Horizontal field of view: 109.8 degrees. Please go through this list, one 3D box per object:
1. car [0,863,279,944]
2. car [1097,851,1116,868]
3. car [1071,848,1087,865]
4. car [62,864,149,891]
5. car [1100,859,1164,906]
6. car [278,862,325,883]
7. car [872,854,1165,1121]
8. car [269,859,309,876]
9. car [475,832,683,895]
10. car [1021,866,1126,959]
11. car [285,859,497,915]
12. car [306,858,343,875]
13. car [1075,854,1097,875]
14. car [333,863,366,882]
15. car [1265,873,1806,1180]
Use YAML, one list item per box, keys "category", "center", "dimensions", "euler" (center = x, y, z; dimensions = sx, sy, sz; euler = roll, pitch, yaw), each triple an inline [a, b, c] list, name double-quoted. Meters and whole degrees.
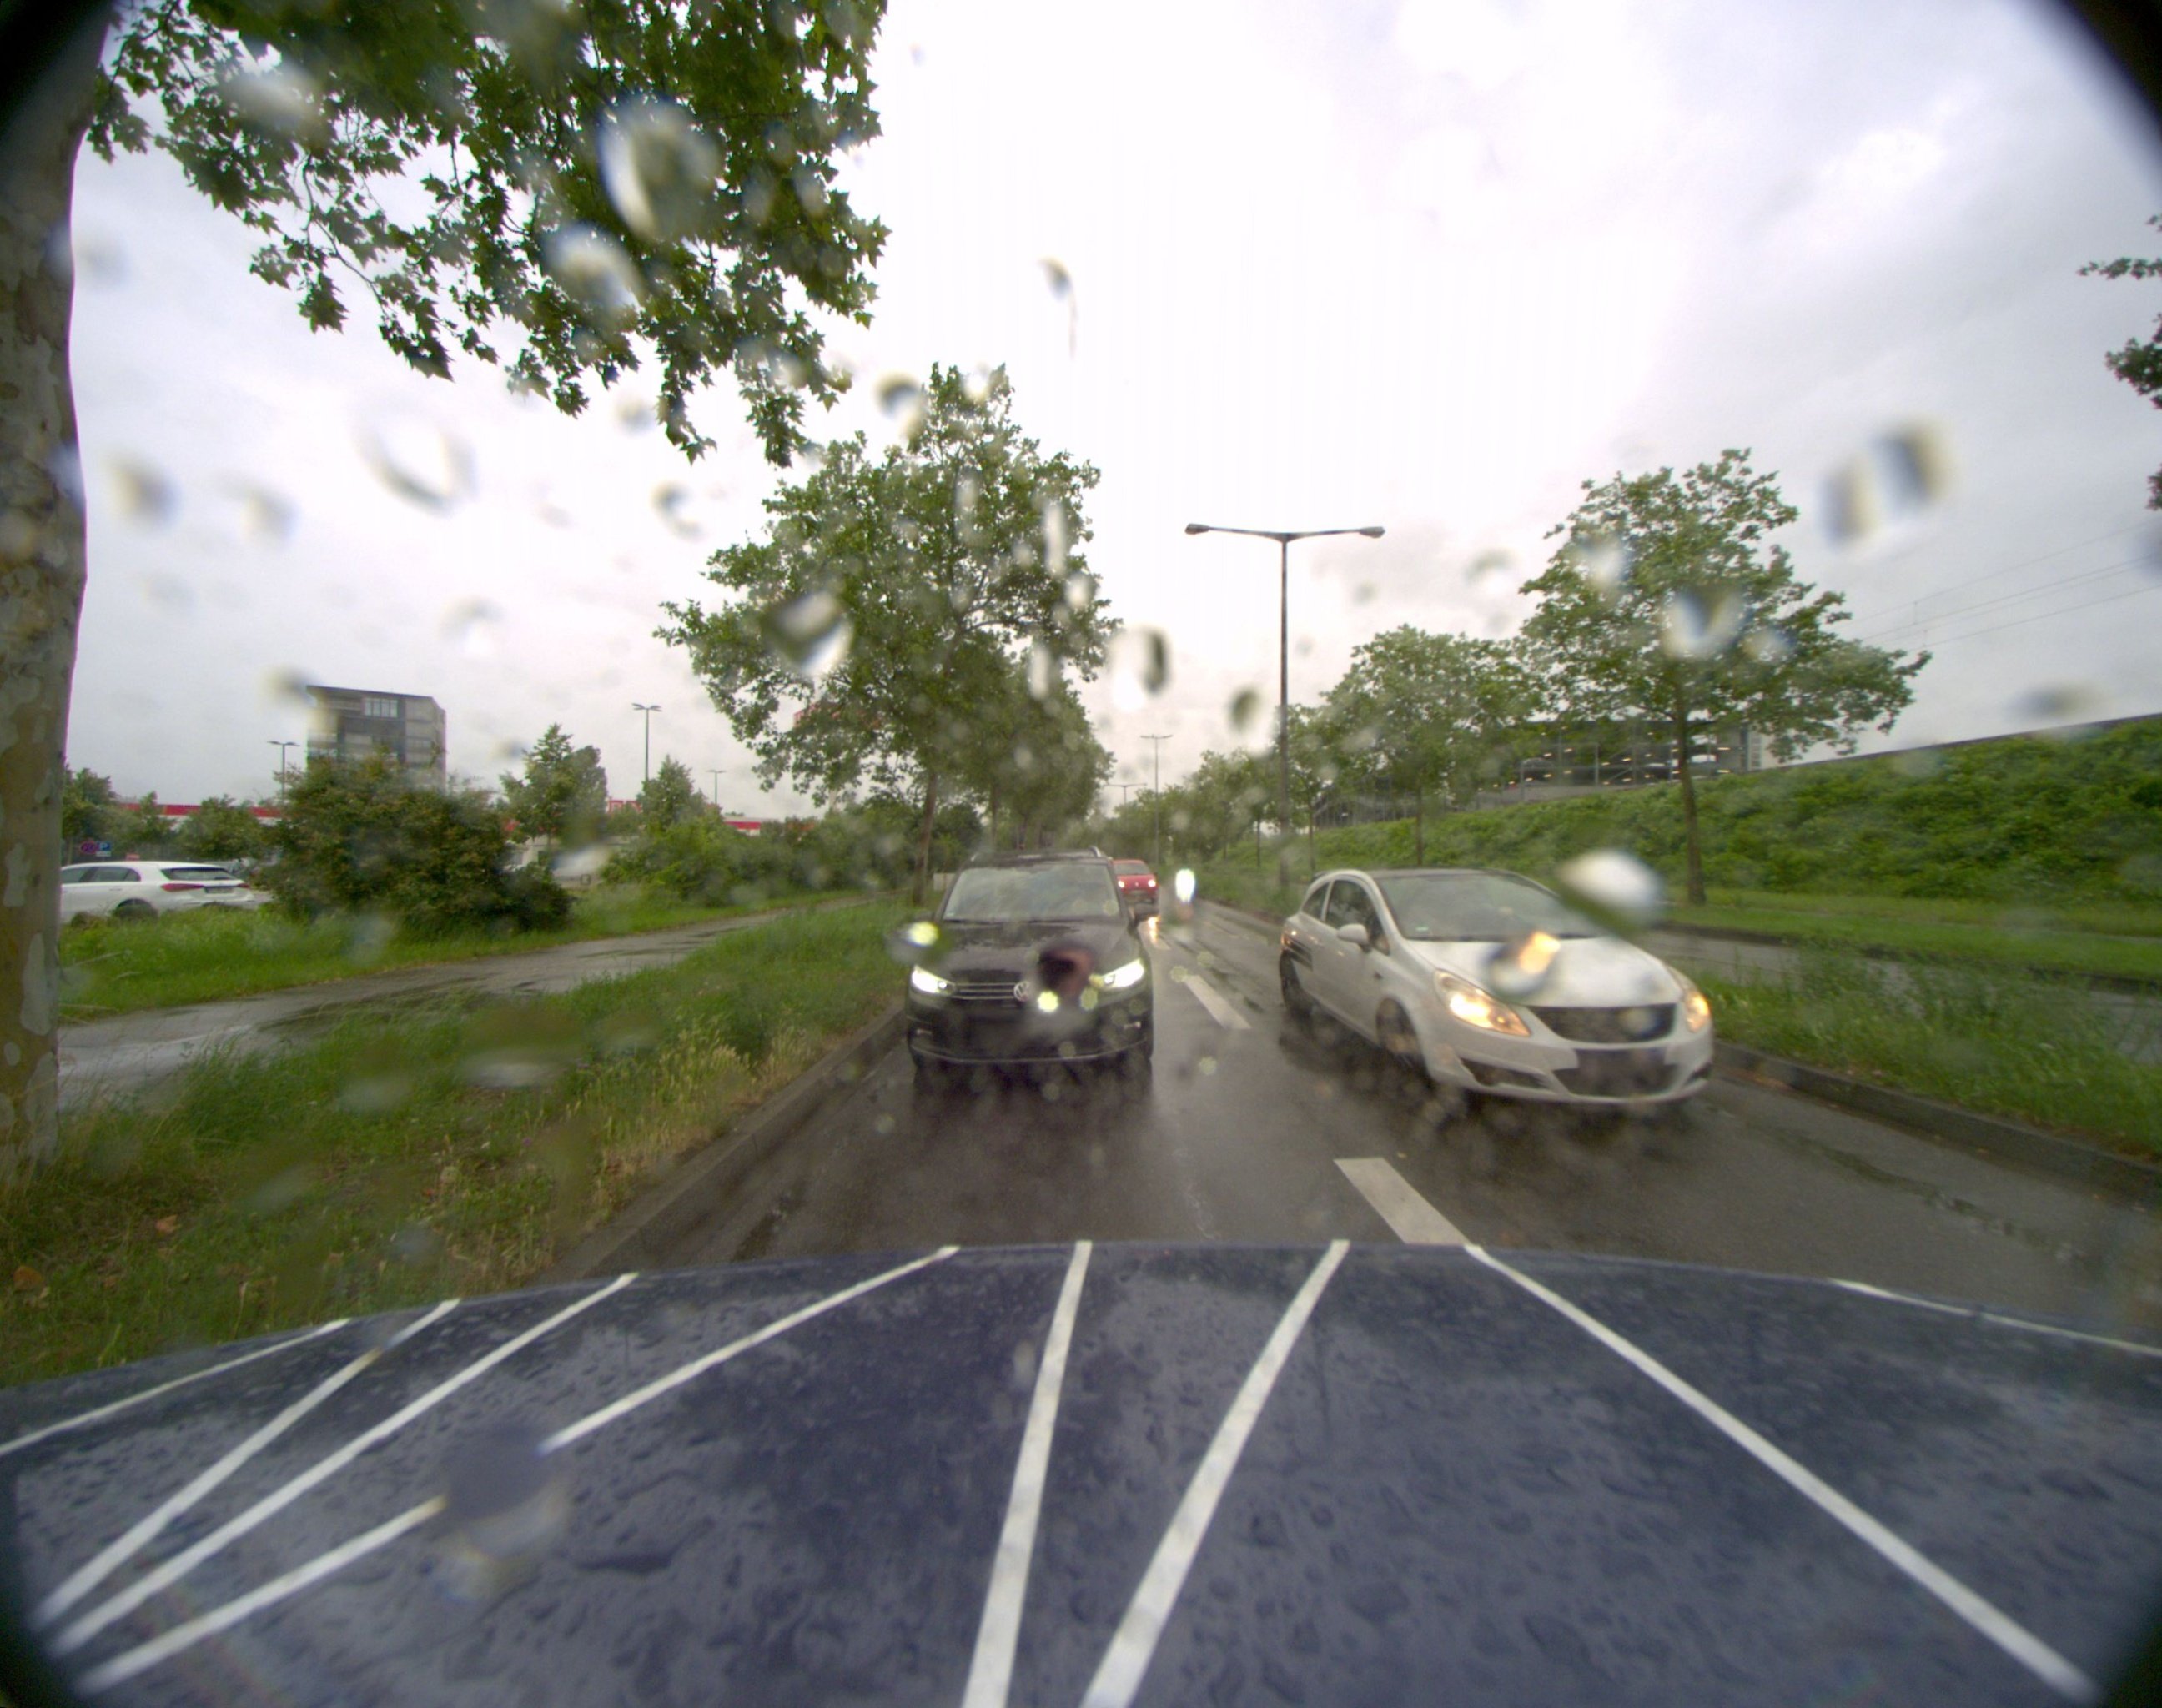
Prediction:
- category: "car"
  center: [-19.787, 0.963, 15.663]
  dimensions: [4.272, 1.543, 1.929]
  euler: [0, 0, -4]
- category: "car"
  center: [2.629, 0.579, 78.807]
  dimensions: [1.831, 1.602, 4.147]
  euler: [-2, 0, 0]
- category: "car"
  center: [-0.289, 0.265, 98.942]
  dimensions: [1.998, 2.002, 5.131]
  euler: [-2, 1, 0]
- category: "car"
  center: [-61.806, 1.435, 48.225]
  dimensions: [1.933, 1.543, 4.263]
  euler: [0, 0, -30]
- category: "car"
  center: [1.741, 0.958, 27.225]
  dimensions: [1.724, 1.456, 4.091]
  euler: [-2, 0, -4]
- category: "car"
  center: [-67.276, 1.599, 65.607]
  dimensions: [2.006, 1.667, 4.262]
  euler: [0, 0, -34]
- category: "car"
  center: [-0.431, 0.832, 7.070]
  dimensions: [1.771, 1.596, 4.626]
  euler: [-2, 0, -1]
- category: "car"
  center: [-80.571, 1.333, 77.338]
  dimensions: [2.006, 1.667, 4.262]
  euler: [0, 0, -35]
- category: "car"
  center: [-19.659, 0.359, 30.082]
  dimensions: [6.425, 2.349, 2.390]
  euler: [0, 0, -8]
- category: "car"
  center: [-0.126, 1.019, 14.895]
  dimensions: [1.724, 1.456, 4.092]
  euler: [-2, 0, 0]
- category: "car"
  center: [-19.940, 0.922, 22.133]
  dimensions: [4.272, 1.543, 1.929]
  euler: [0, 0, -4]
- category: "car"
  center: [-78.460, 1.234, 78.869]
  dimensions: [2.006, 1.667, 4.262]
  euler: [0, 0, -35]
- category: "car"
  center: [0.433, 0.880, 67.568]
  dimensions: [1.831, 1.737, 4.147]
  euler: [-2, 0, 0]
- category: "car"
  center: [-67.894, 1.684, 70.541]
  dimensions: [2.007, 1.667, 4.261]
  euler: [0, 0, -42]
- category: "car"
  center: [2.742, 0.906, 5.775]
  dimensions: [1.683, 1.368, 4.011]
  euler: [-2, 0, 0]
